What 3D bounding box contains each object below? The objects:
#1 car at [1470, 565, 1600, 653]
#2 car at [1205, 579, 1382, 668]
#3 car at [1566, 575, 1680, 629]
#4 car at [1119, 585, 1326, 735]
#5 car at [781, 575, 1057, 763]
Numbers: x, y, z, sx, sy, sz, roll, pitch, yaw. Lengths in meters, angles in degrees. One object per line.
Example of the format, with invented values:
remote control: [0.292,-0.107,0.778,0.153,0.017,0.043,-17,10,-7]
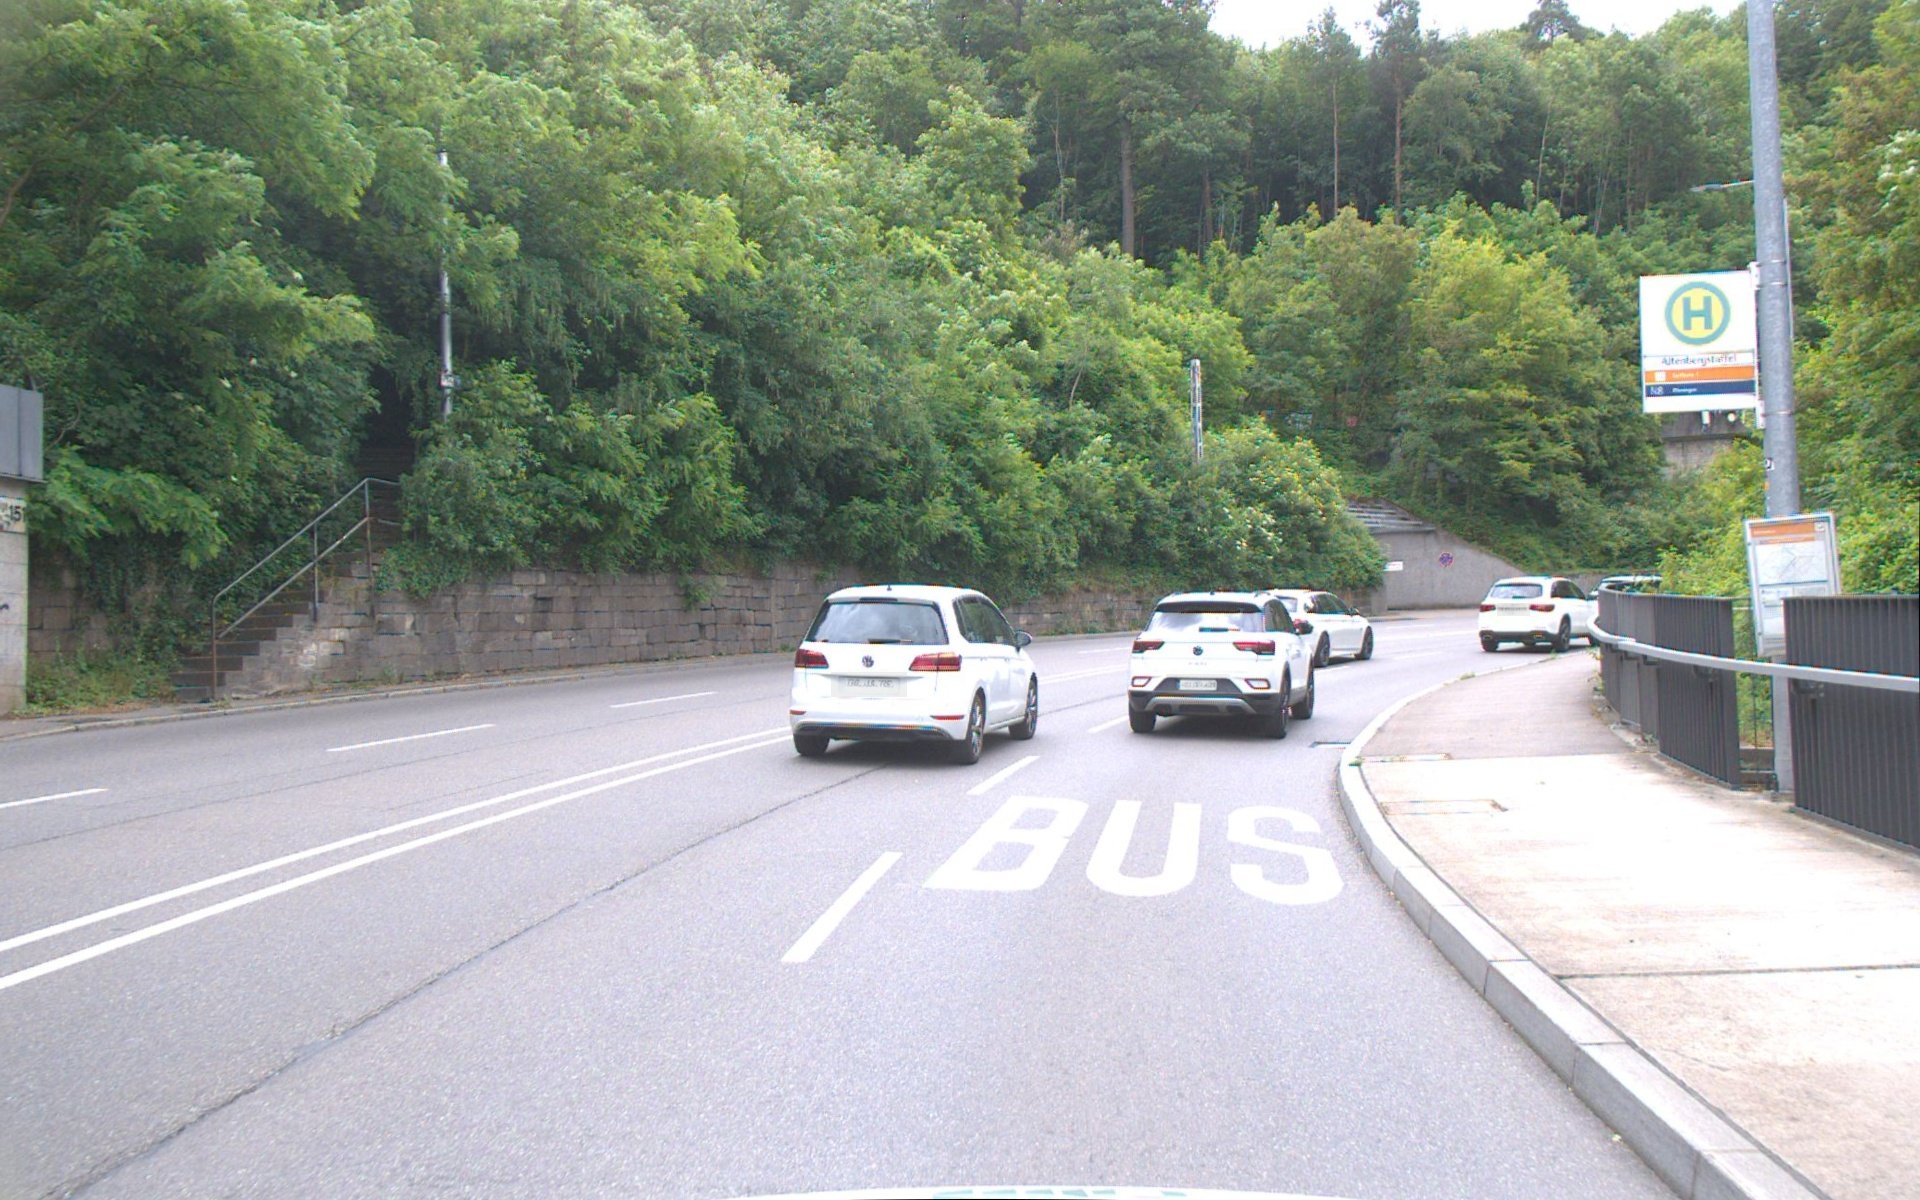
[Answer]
car: [13.281,0.231,38.078,1.957,1.875,4.140,2,-1,31]
car: [6.789,0.432,33.299,1.958,1.584,4.669,3,2,32]
car: [21.230,0.080,52.877,4.273,1.545,1.720,3,-1,-43]
car: [3.200,0.634,19.520,1.775,1.566,4.010,-1,0,18]
car: [-0.247,0.590,16.356,1.683,1.581,4.279,1,0,13]
